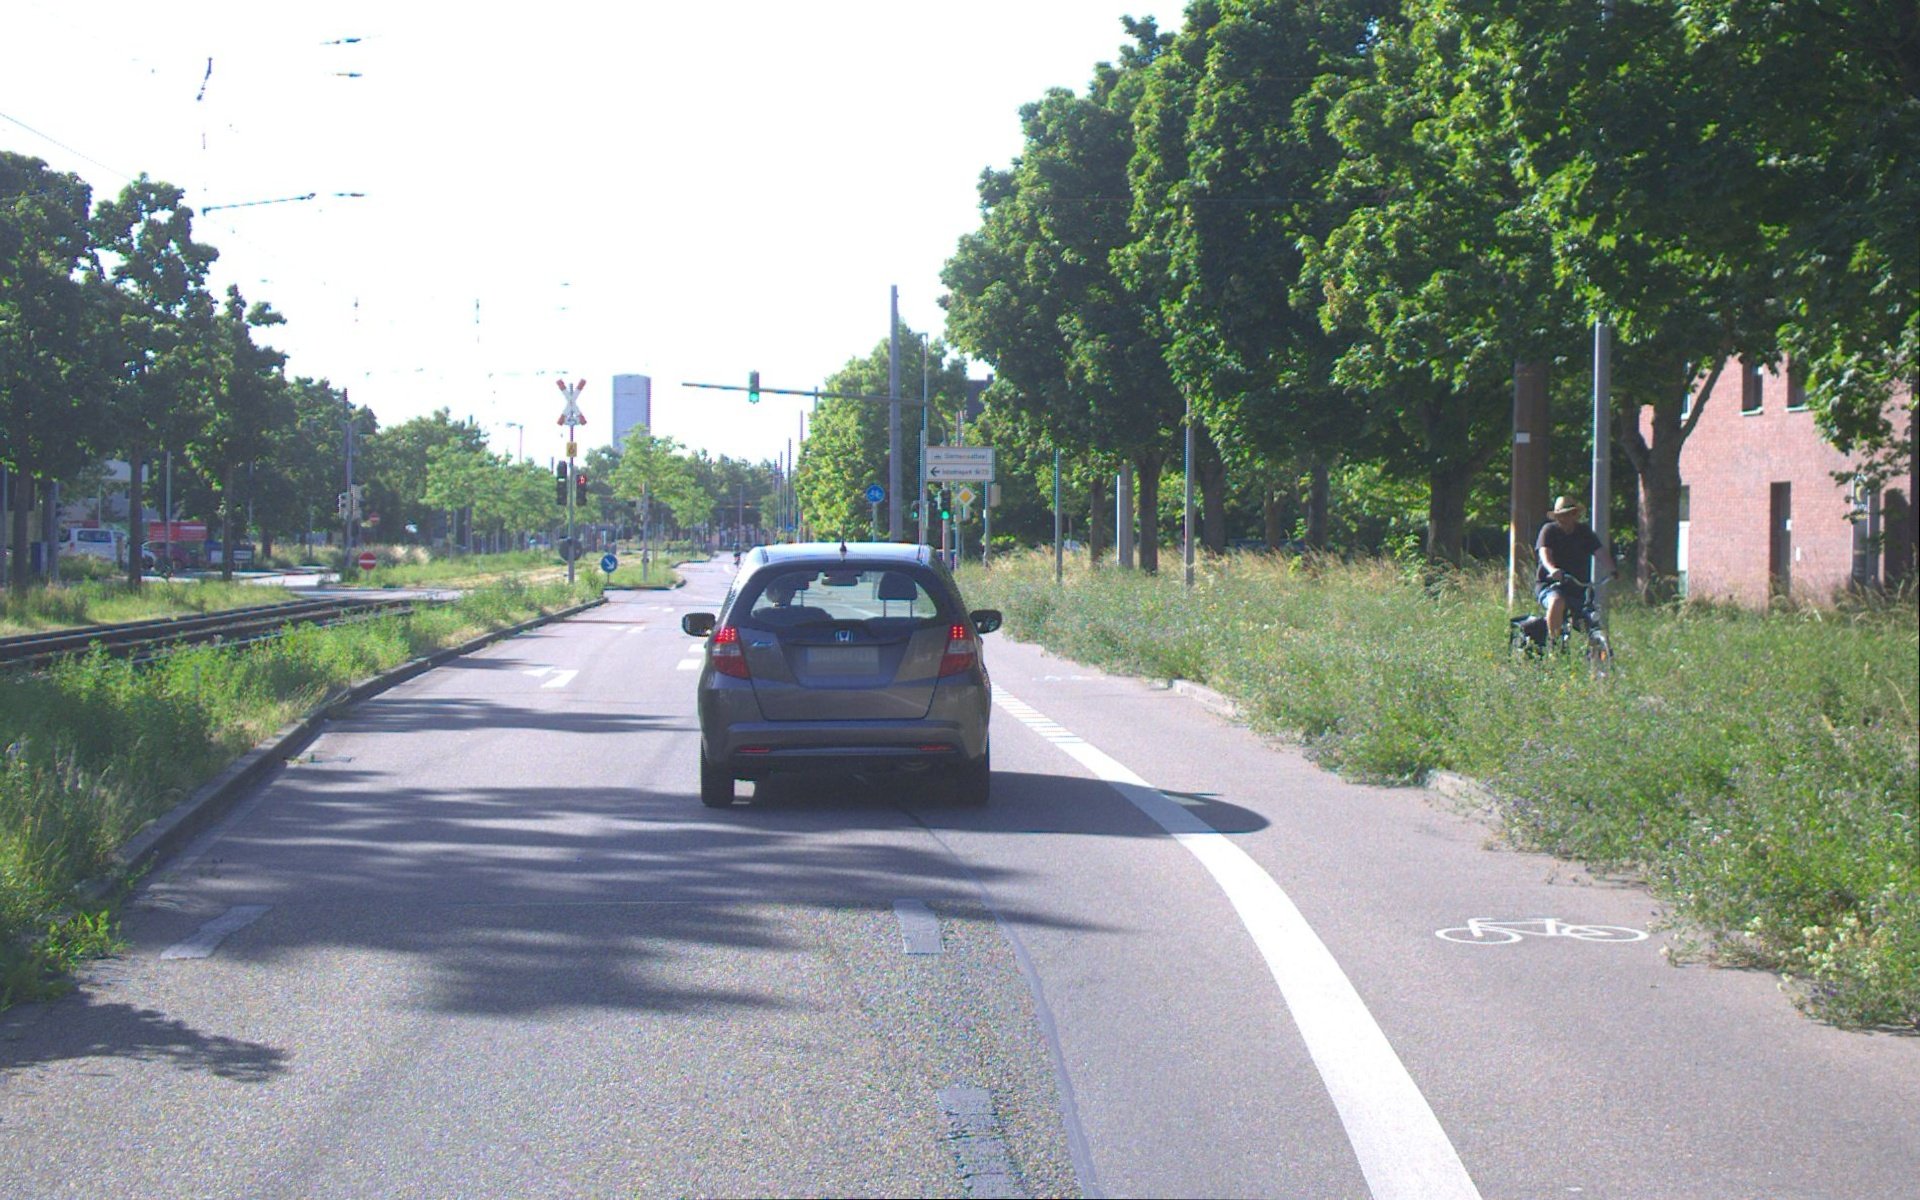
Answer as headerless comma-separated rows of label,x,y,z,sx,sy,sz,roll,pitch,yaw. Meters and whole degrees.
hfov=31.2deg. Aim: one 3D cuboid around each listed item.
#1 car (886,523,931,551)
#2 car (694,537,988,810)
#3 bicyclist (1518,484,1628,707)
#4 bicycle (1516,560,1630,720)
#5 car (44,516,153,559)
car,-2.567,-3.158,171.309,1.773,1.382,3.871,-1,1,-7
car,-0.770,0.375,20.784,1.624,1.494,3.457,0,1,-4
bicyclist,4.796,-0.038,26.943,0.683,1.714,0.902,0,0,-1
bicycle,4.783,0.313,26.919,0.483,1.200,2.143,0,-1,-1
car,-39.839,-2.897,159.102,1.858,1.967,4.776,1,2,36
